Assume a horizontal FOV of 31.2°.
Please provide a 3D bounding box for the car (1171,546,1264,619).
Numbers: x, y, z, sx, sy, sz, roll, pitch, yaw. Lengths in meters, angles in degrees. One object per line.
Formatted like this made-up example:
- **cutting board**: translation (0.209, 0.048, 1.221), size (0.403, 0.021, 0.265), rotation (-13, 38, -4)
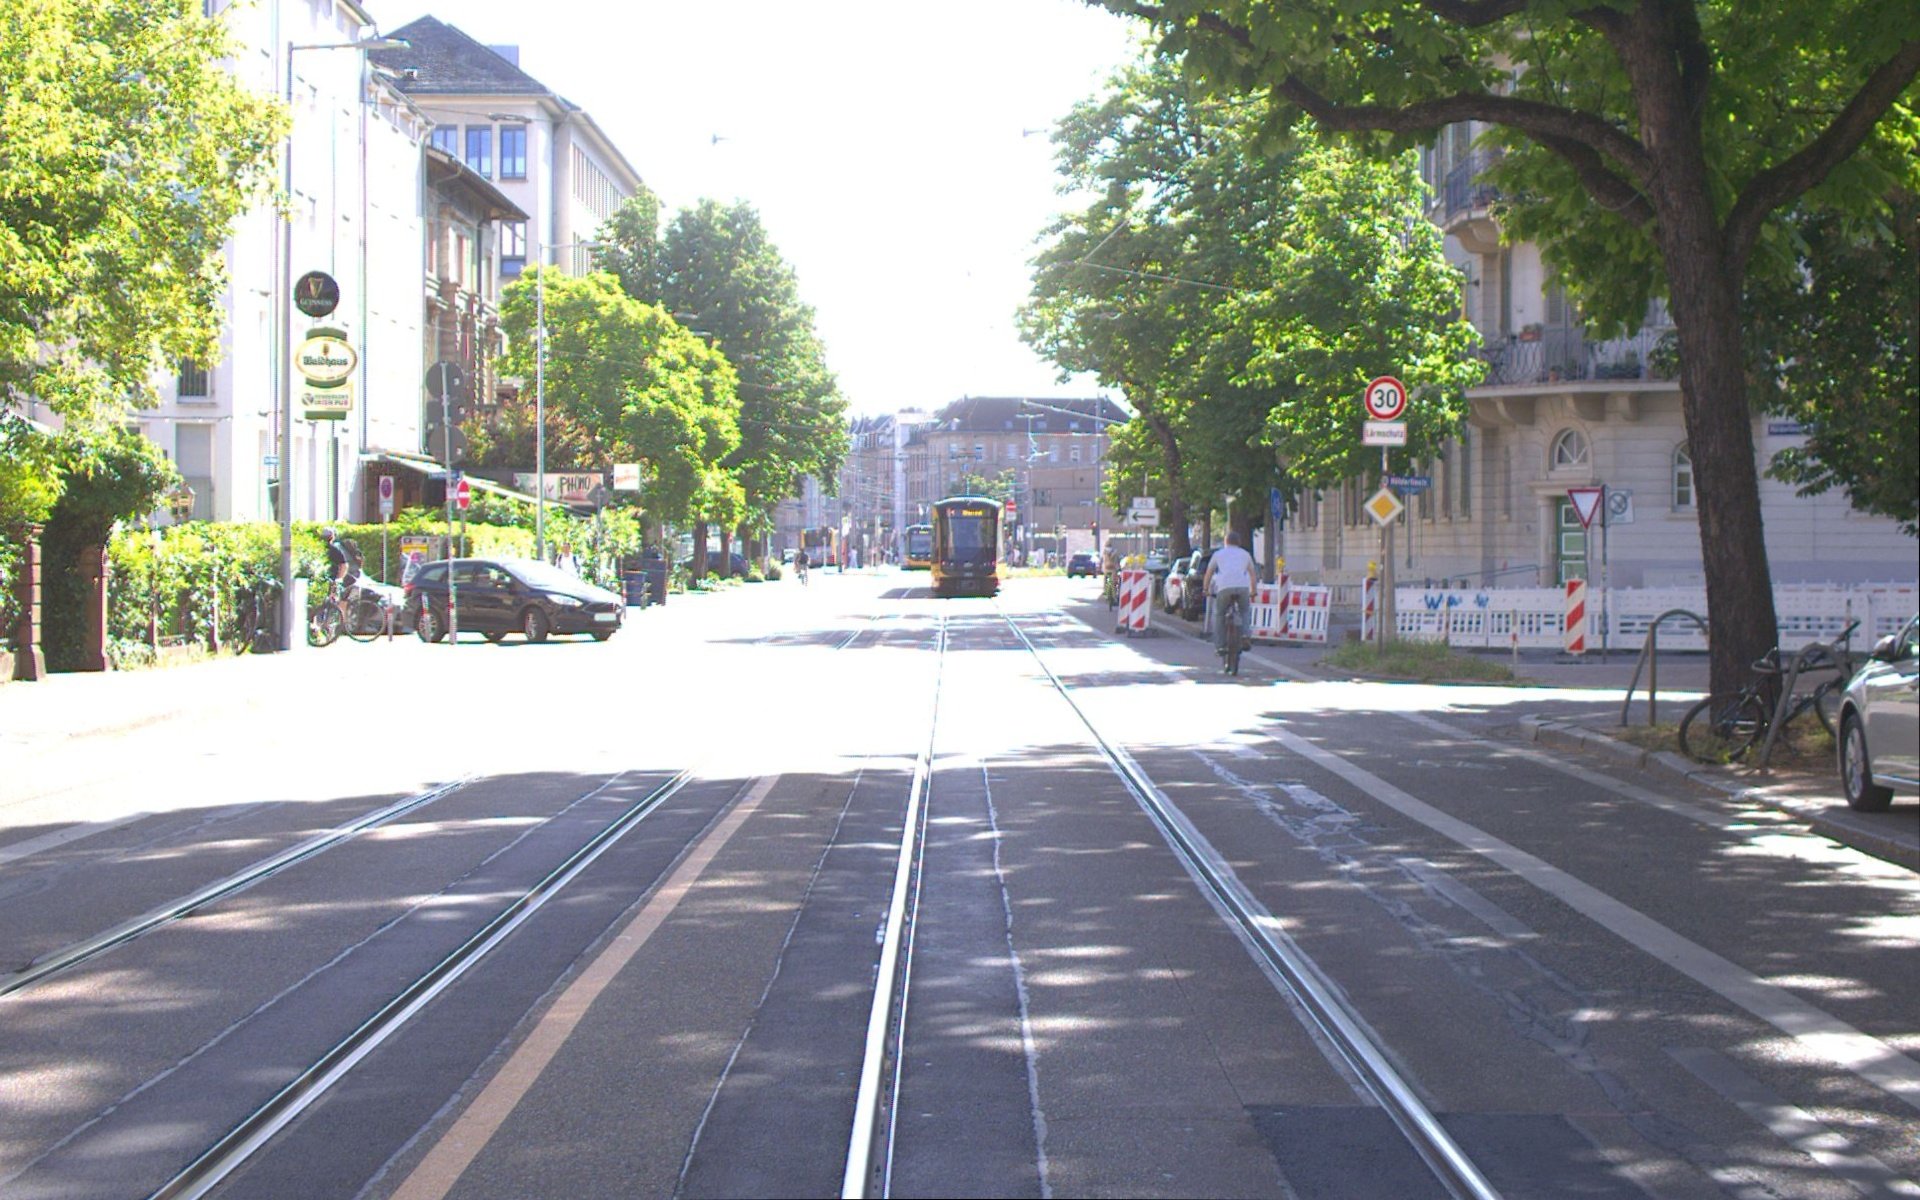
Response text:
- **car**: translation (5.762, -0.406, 77.340), size (1.754, 1.546, 3.677), rotation (1, 1, 0)

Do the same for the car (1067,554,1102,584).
- **car**: translation (7.255, -1.793, 200.395), size (1.872, 1.657, 3.515), rotation (1, 1, 0)

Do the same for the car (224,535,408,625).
- **car**: translation (-12.386, -0.394, 66.259), size (3.409, 1.634, 1.673), rotation (1, 1, -9)

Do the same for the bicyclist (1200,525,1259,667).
- **bicyclist**: translation (3.477, -0.059, 44.390), size (0.645, 1.789, 0.956), rotation (1, 1, 0)

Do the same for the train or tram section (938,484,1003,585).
- **train or tram section**: translation (0.326, -2.337, 121.543), size (2.153, 3.420, 6.611), rotation (1, 1, 0)

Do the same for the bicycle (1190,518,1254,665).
- **bicycle**: translation (3.404, -0.133, 44.863), size (0.663, 1.853, 2.260), rotation (1, 1, 1)

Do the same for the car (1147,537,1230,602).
- **car**: translation (5.674, -0.774, 85.721), size (1.754, 1.546, 3.677), rotation (1, 1, 0)

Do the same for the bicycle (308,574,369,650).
- **bicycle**: translation (-9.252, 0.166, 51.155), size (0.632, 1.065, 1.832), rotation (1, 1, -18)

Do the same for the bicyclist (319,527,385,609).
- **bicyclist**: translation (-9.757, -0.513, 55.161), size (0.773, 1.287, 0.733), rotation (2, 1, 16)

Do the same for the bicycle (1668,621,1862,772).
- **bicycle**: translation (5.761, 0.682, 24.659), size (1.270, 1.020, 0.704), rotation (2, 0, 8)

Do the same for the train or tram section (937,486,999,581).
- **train or tram section**: translation (0.281, -2.487, 128.195), size (2.153, 3.420, 6.611), rotation (1, 1, 0)

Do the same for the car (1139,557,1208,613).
- **car**: translation (6.310, -0.460, 101.898), size (1.754, 1.546, 3.677), rotation (1, 1, 0)

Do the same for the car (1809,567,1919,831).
- **car**: translation (6.152, 0.542, 19.248), size (1.748, 1.415, 4.000), rotation (-1, 1, -1)

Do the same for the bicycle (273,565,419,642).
- **bicycle**: translation (-9.862, 0.046, 55.224), size (2.141, 1.167, 0.802), rotation (2, 1, 15)

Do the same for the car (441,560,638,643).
- **car**: translation (-7.404, 0.036, 60.344), size (1.755, 1.415, 3.578), rotation (0, -1, -41)

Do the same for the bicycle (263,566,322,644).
- **bicycle**: translation (-9.703, 0.061, 49.940), size (0.632, 1.065, 1.832), rotation (1, 1, -17)

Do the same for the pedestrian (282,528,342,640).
- **pedestrian**: translation (-10.039, -0.256, 53.261), size (0.770, 1.706, 0.669), rotation (1, 1, 0)
